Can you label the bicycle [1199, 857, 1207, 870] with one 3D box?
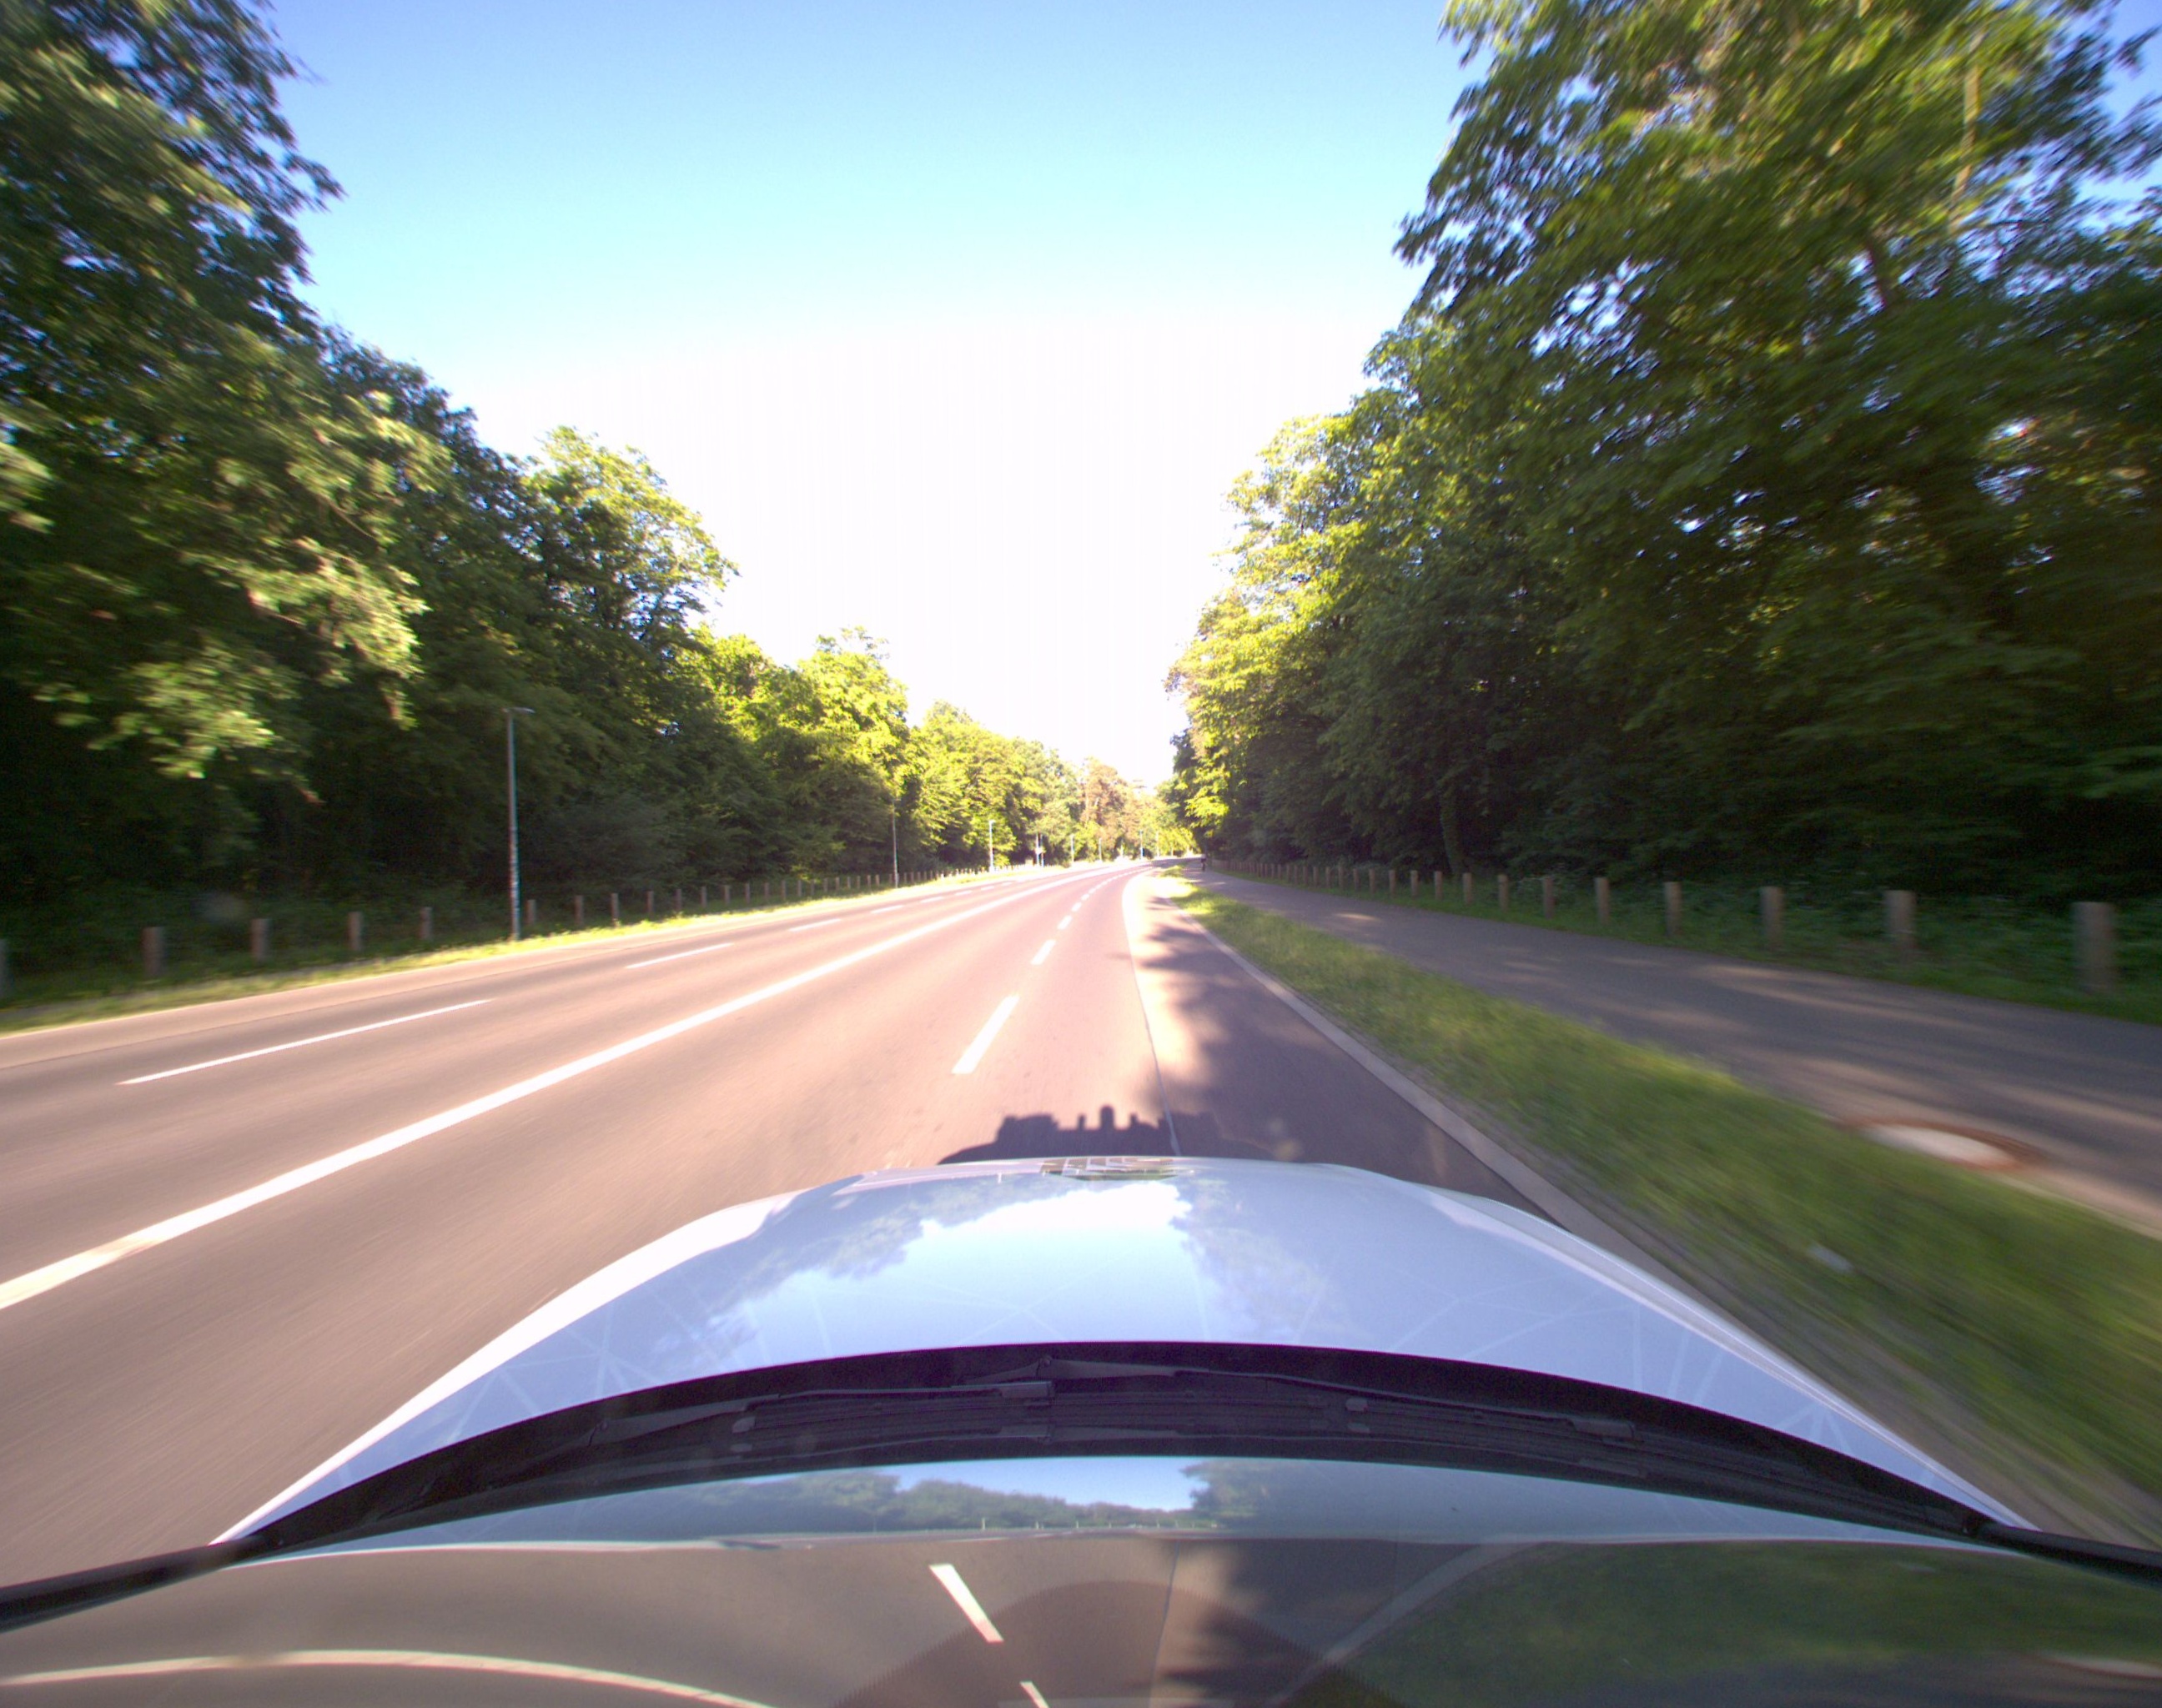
[{"bbox_3d":[10.868,0.835,72.563,0.708,1.055,2.058,-2,1,8],"label":"bicycle"}]
